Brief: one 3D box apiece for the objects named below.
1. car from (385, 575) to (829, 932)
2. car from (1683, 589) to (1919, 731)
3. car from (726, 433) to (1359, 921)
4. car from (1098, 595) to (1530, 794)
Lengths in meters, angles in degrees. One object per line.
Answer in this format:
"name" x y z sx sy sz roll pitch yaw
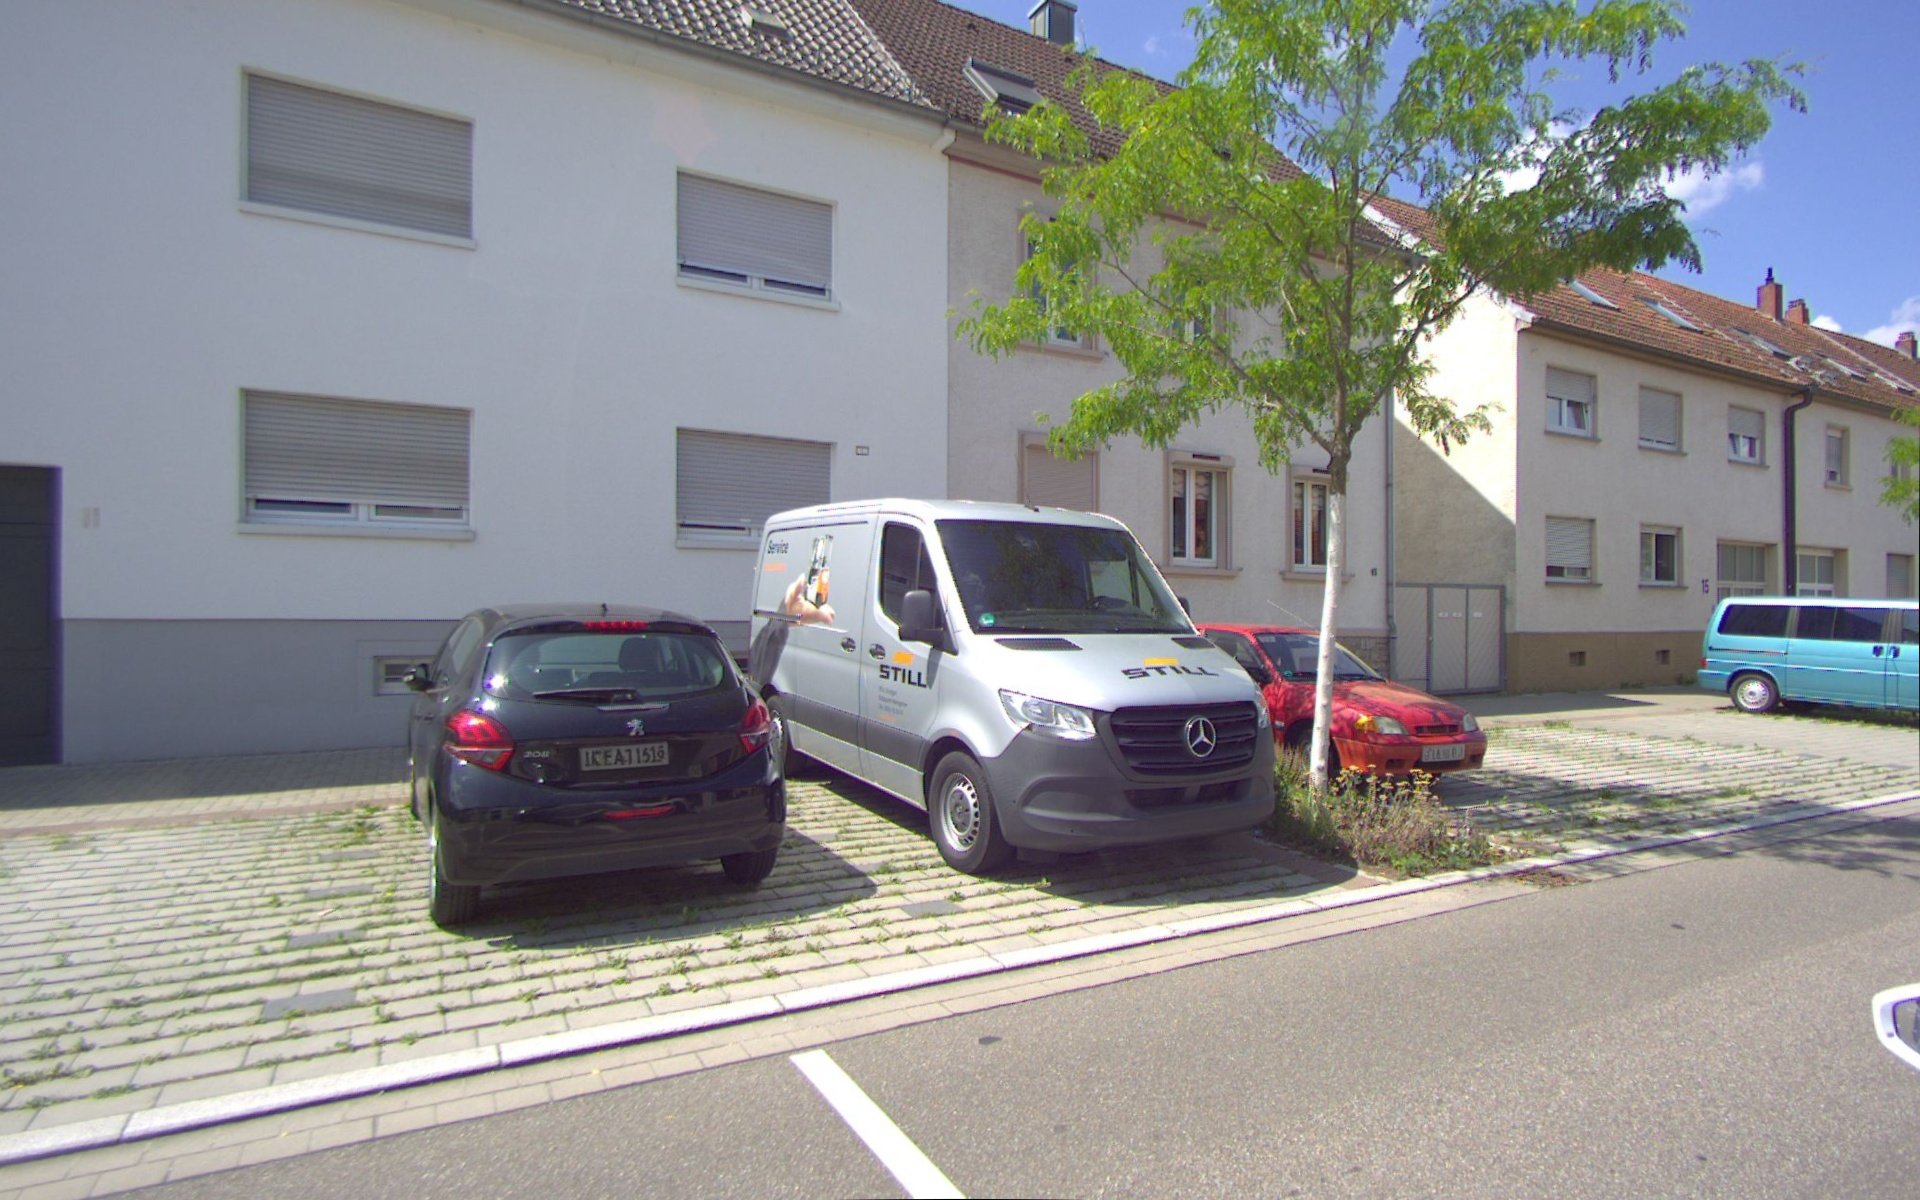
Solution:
"car" -2.488 0.612 6.316 1.880 1.465 3.966 1 0 -31
"car" 14.220 0.905 15.380 1.975 1.932 4.658 2 1 -28
"car" 0.084 0.304 7.536 2.132 2.319 5.140 1 1 -30
"car" 3.153 0.739 9.725 1.704 1.404 3.767 2 1 -28
